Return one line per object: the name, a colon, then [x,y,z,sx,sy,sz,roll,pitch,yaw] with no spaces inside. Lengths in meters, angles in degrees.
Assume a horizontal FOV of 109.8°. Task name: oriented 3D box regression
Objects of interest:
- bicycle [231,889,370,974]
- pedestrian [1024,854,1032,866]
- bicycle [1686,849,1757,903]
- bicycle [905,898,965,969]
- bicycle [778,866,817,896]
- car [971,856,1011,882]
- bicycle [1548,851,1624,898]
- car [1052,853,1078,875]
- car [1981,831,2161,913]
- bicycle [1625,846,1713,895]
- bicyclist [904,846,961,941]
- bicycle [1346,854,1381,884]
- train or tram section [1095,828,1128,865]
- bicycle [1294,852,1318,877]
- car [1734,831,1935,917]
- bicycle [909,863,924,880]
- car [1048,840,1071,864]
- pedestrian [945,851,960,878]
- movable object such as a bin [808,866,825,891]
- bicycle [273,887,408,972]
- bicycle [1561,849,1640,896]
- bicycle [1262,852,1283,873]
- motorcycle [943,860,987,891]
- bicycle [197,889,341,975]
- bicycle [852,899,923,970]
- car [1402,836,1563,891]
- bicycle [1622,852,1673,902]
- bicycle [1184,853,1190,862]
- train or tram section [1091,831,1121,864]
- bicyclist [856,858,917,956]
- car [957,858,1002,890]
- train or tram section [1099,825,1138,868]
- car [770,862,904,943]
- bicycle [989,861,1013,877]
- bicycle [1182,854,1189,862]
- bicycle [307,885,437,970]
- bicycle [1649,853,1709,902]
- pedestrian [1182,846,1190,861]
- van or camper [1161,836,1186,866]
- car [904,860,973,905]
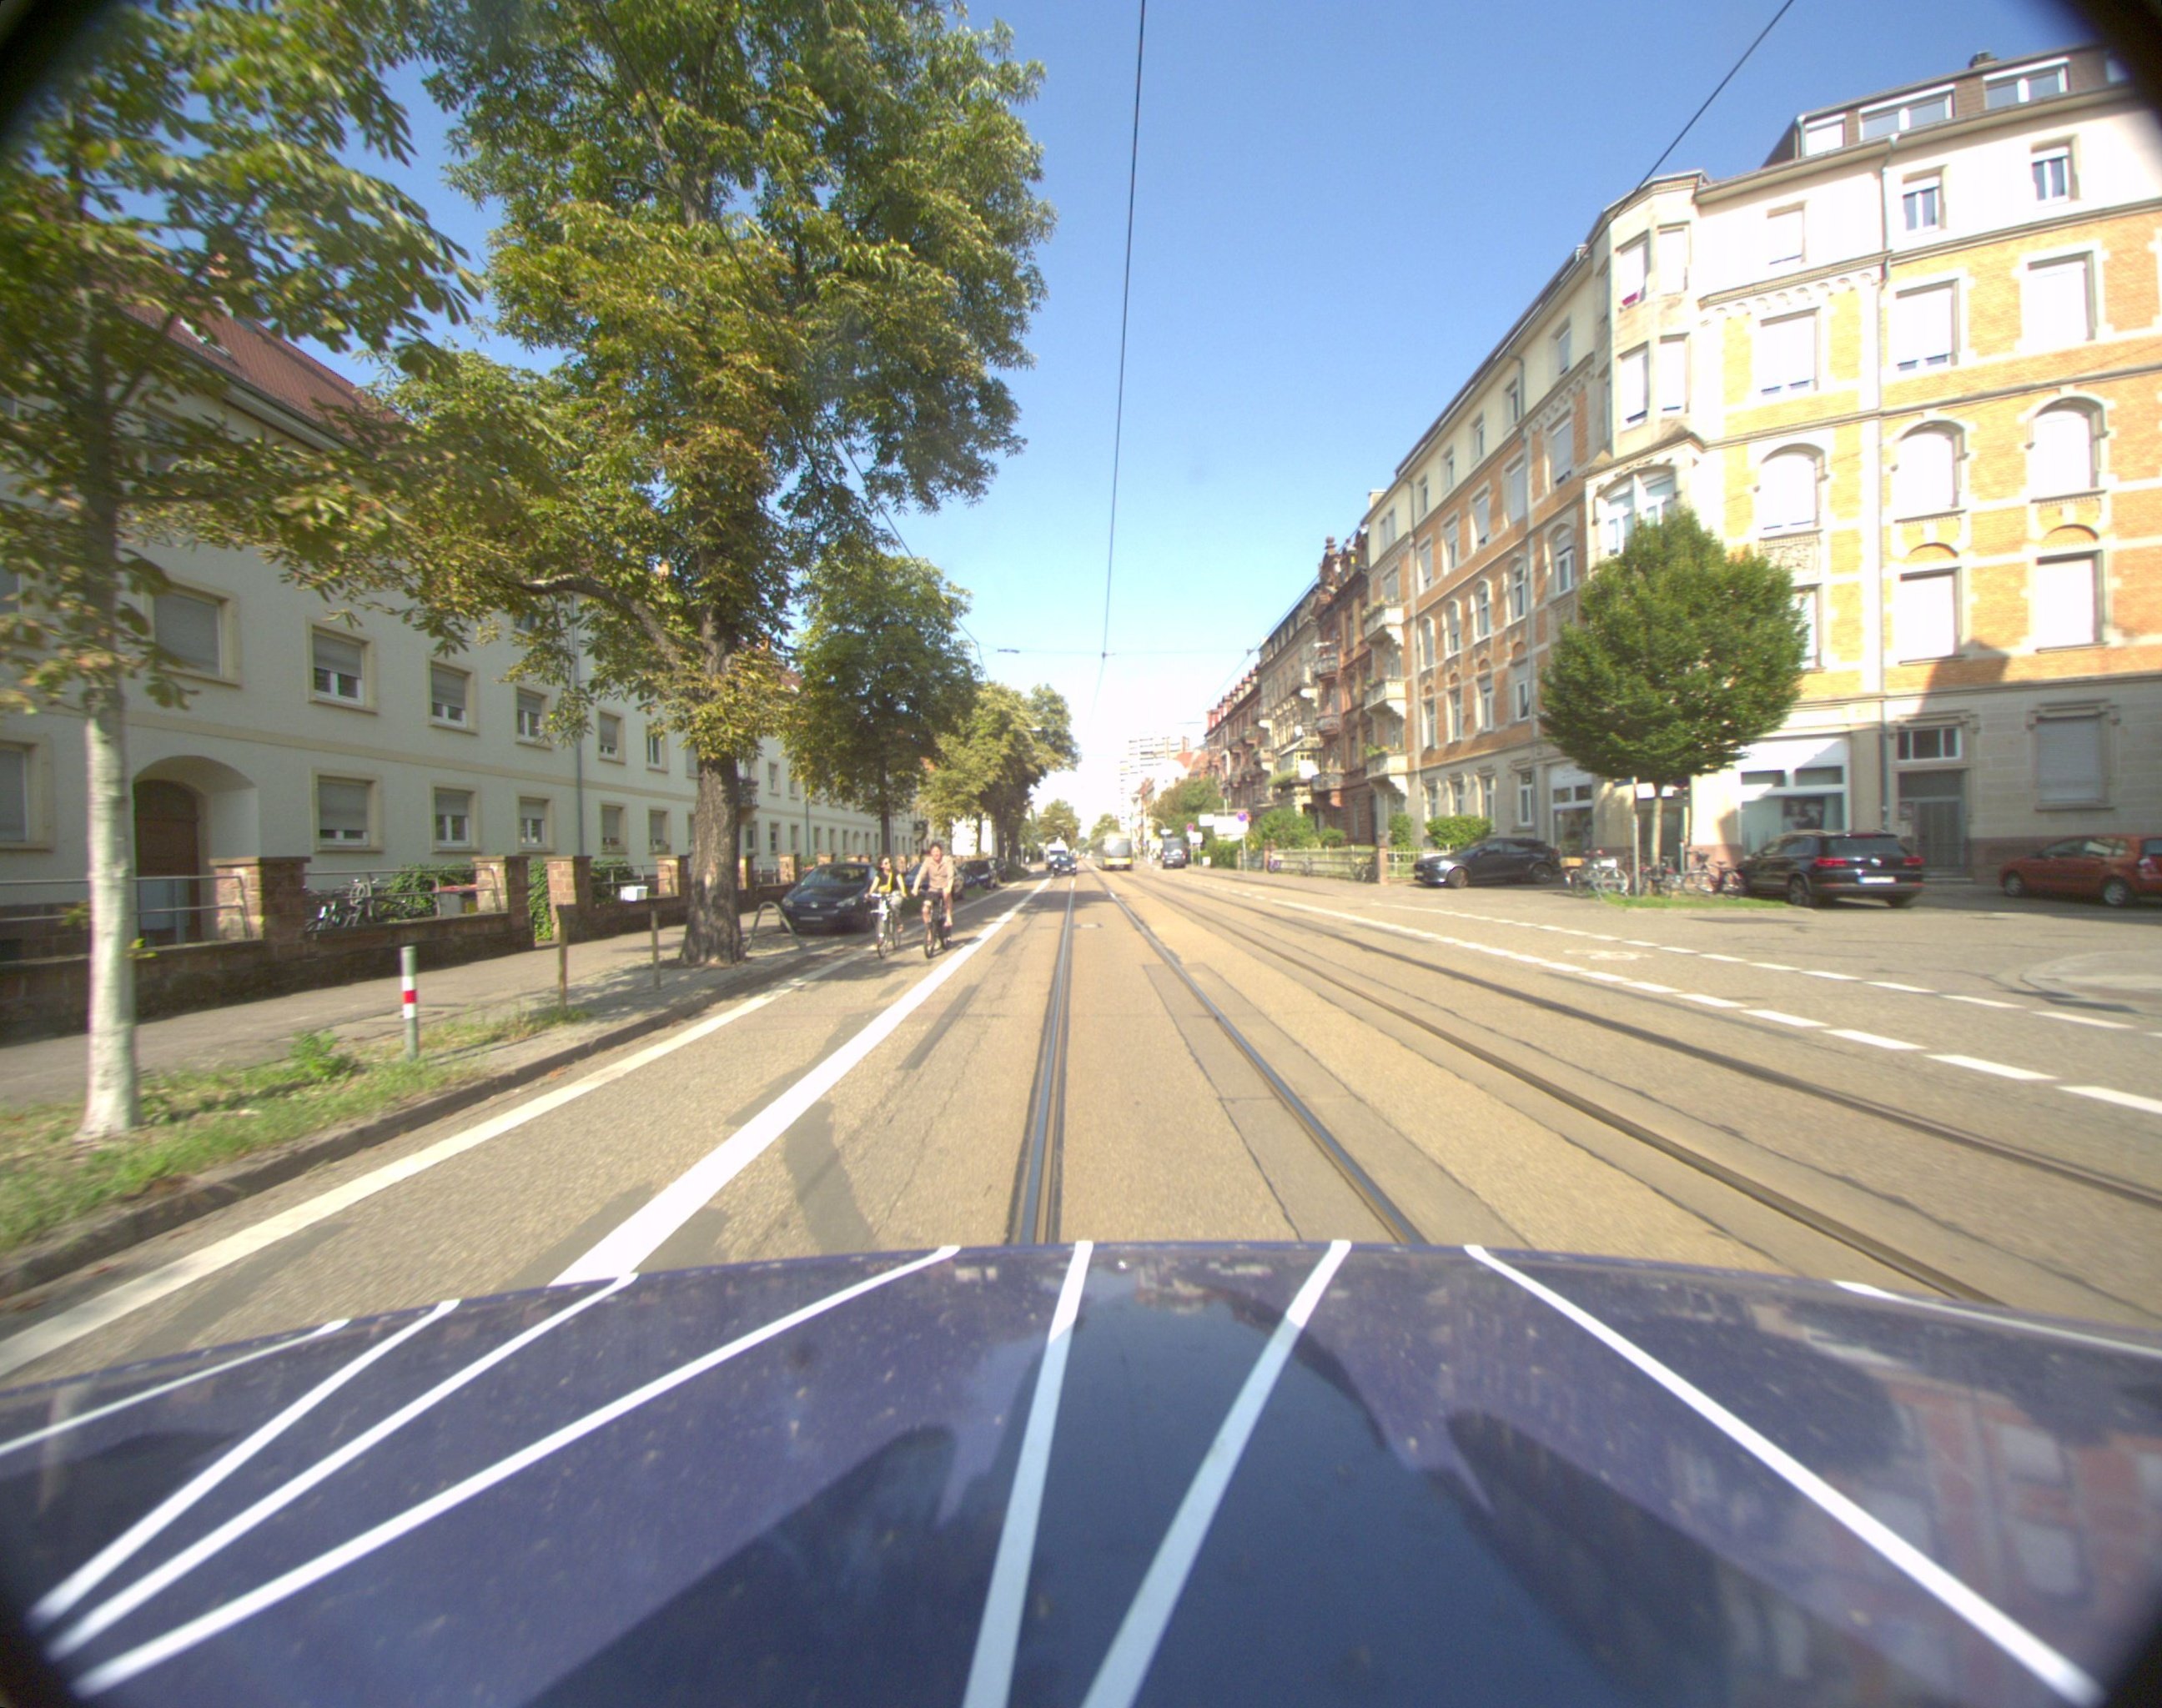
bicycle: [-11.109,1.070,10.884,0.417,1.054,1.488,-1,1,0]
pedestrian: [-7.723,0.865,111.148,1.079,1.714,0.969,1,0,-1]
bicycle: [15.255,0.503,18.148,0.542,1.222,1.775,-1,1,13]
bicycle: [-2.265,1.219,11.948,0.628,0.903,1.525,-4,1,-1]
bicycle: [-11.381,1.059,30.586,0.774,1.097,2.333,-2,0,-3]
car: [-5.444,0.878,46.177,1.649,1.531,3.843,0,1,5]
bicycle: [13.550,0.538,20.393,1.853,1.190,0.542,-1,1,-11]
car: [-1.141,0.736,56.152,1.775,1.459,4.000,-3,0,0]
car: [21.502,0.303,15.871,1.764,1.517,3.773,-1,0,18]
bicycle: [15.503,0.434,20.082,1.770,1.250,0.544,-1,1,14]
bicyclist: [-2.310,0.594,11.928,0.628,1.393,0.929,-4,1,-1]
bicycle: [10.500,0.543,28.296,0.546,1.052,1.839,-6,0,1]
train or tram section: [3.095,-0.712,79.608,2.741,3.485,10.774,-2,0,-1]
bicycle: [10.450,0.469,35.320,0.546,1.052,1.839,-6,0,1]
car: [16.533,0.357,16.950,1.764,1.650,3.773,-3,1,21]
bicycle: [-10.785,1.141,49.798,0.525,1.067,1.728,-2,0,1]
car: [-2.094,-0.173,76.187,2.087,2.264,4.827,-2,0,0]
pedestrian: [-8.471,0.700,50.100,0.754,1.739,0.878,-2,1,6]
movable object such as a bin: [-11.837,1.086,34.025,0.508,1.063,0.660,-2,1,1]
bicycle: [-10.460,1.033,10.805,0.417,1.054,1.488,-1,1,0]
bicycle: [13.635,0.476,19.951,1.863,1.174,0.542,-1,1,-11]
bicycle: [10.405,0.441,41.254,0.608,1.052,1.839,-6,0,1]
motorcycle: [-5.216,0.980,34.173,1.859,1.281,0.705,2,-4,-3]
bicycle: [-11.571,1.078,10.891,0.417,1.054,1.488,-1,1,0]
bicycle: [-3.073,1.245,12.215,0.656,0.903,1.774,-4,1,-1]
car: [13.034,0.274,24.844,4.148,1.534,2.064,-3,1,-1]
bicycle: [13.782,0.539,18.530,0.482,1.153,1.775,-1,1,19]
bicycle: [11.595,0.387,82.962,0.527,0.922,1.703,-2,0,3]
train or tram section: [2.916,-0.744,92.698,2.741,3.485,15.430,-2,0,-1]
bicyclist: [-3.105,0.825,12.223,0.656,1.465,0.908,-4,1,-1]
car: [-5.009,0.955,38.039,1.649,1.440,4.245,0,1,0]
train or tram section: [3.226,-0.662,68.800,2.741,3.485,10.774,-2,0,-1]
car: [-5.227,0.969,16.861,1.694,1.493,4.095,0,1,-1]
bicycle: [-5.539,1.026,52.571,0.524,1.067,1.732,-2,1,41]
bicycle: [11.621,0.487,84.657,0.527,0.855,1.703,-2,0,3]
bicycle: [-10.007,1.001,10.790,0.417,1.054,1.488,-1,1,0]
bicycle: [14.390,0.544,18.334,0.542,1.083,1.839,-1,1,18]
pedestrian: [11.415,-0.041,82.407,0.639,1.668,0.633,-2,0,-12]
van or camper: [8.379,-0.295,68.970,2.054,2.629,6.092,-1,1,7]
car: [-5.050,0.983,27.474,1.694,1.426,4.336,1,0,-1]
